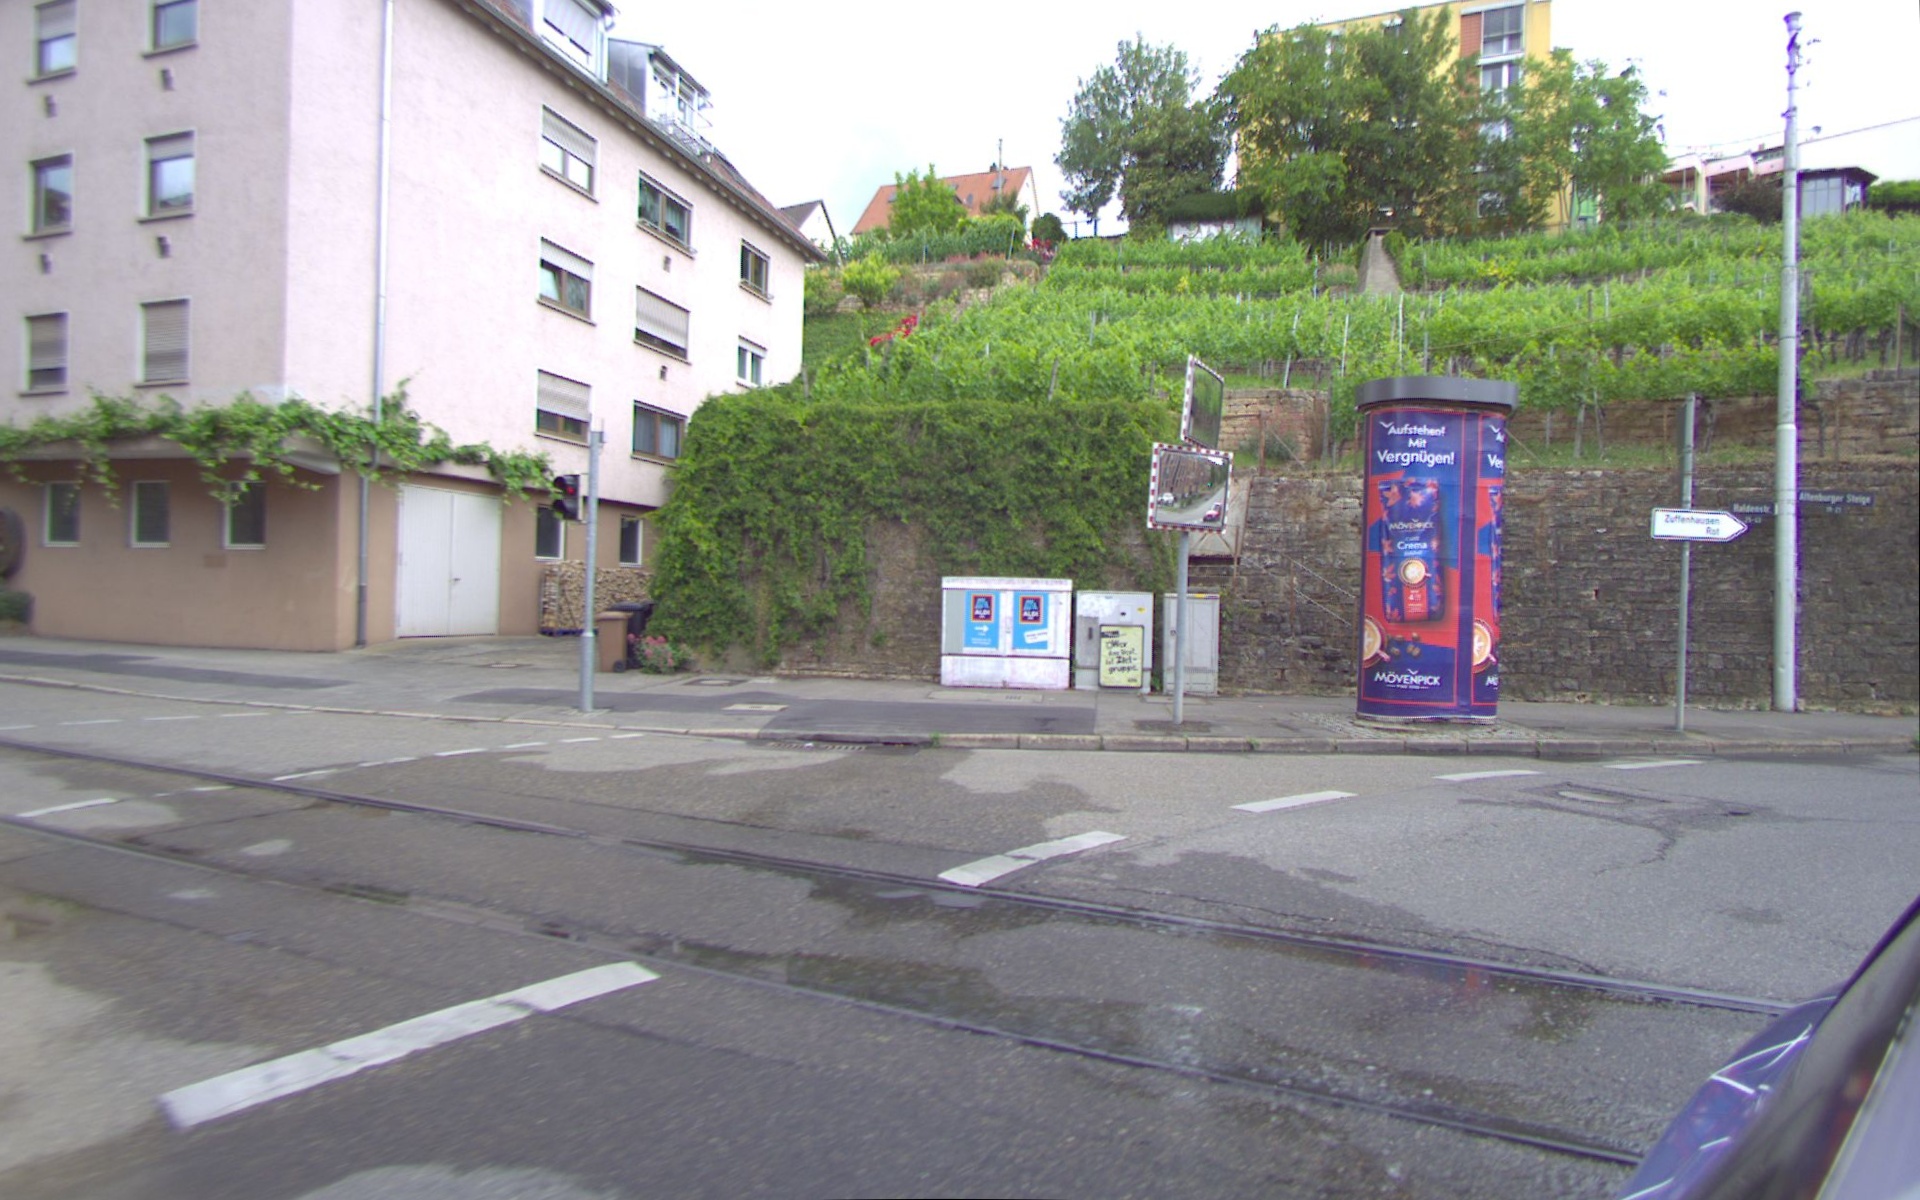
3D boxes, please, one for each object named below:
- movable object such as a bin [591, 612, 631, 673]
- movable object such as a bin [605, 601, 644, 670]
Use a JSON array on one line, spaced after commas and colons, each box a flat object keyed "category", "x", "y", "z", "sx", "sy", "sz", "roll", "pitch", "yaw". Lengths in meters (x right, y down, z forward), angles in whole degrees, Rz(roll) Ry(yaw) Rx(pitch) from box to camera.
[{"category": "movable object such as a bin", "x": -5.409, "y": 0.653, "z": 15.695, "sx": 0.486, "sy": 0.923, "sz": 0.344, "roll": -1, "pitch": -1, "yaw": 3}, {"category": "movable object such as a bin", "x": -5.376, "y": 0.562, "z": 16.235, "sx": 0.464, "sy": 1.096, "sz": 0.408, "roll": -1, "pitch": 0, "yaw": 3}]
